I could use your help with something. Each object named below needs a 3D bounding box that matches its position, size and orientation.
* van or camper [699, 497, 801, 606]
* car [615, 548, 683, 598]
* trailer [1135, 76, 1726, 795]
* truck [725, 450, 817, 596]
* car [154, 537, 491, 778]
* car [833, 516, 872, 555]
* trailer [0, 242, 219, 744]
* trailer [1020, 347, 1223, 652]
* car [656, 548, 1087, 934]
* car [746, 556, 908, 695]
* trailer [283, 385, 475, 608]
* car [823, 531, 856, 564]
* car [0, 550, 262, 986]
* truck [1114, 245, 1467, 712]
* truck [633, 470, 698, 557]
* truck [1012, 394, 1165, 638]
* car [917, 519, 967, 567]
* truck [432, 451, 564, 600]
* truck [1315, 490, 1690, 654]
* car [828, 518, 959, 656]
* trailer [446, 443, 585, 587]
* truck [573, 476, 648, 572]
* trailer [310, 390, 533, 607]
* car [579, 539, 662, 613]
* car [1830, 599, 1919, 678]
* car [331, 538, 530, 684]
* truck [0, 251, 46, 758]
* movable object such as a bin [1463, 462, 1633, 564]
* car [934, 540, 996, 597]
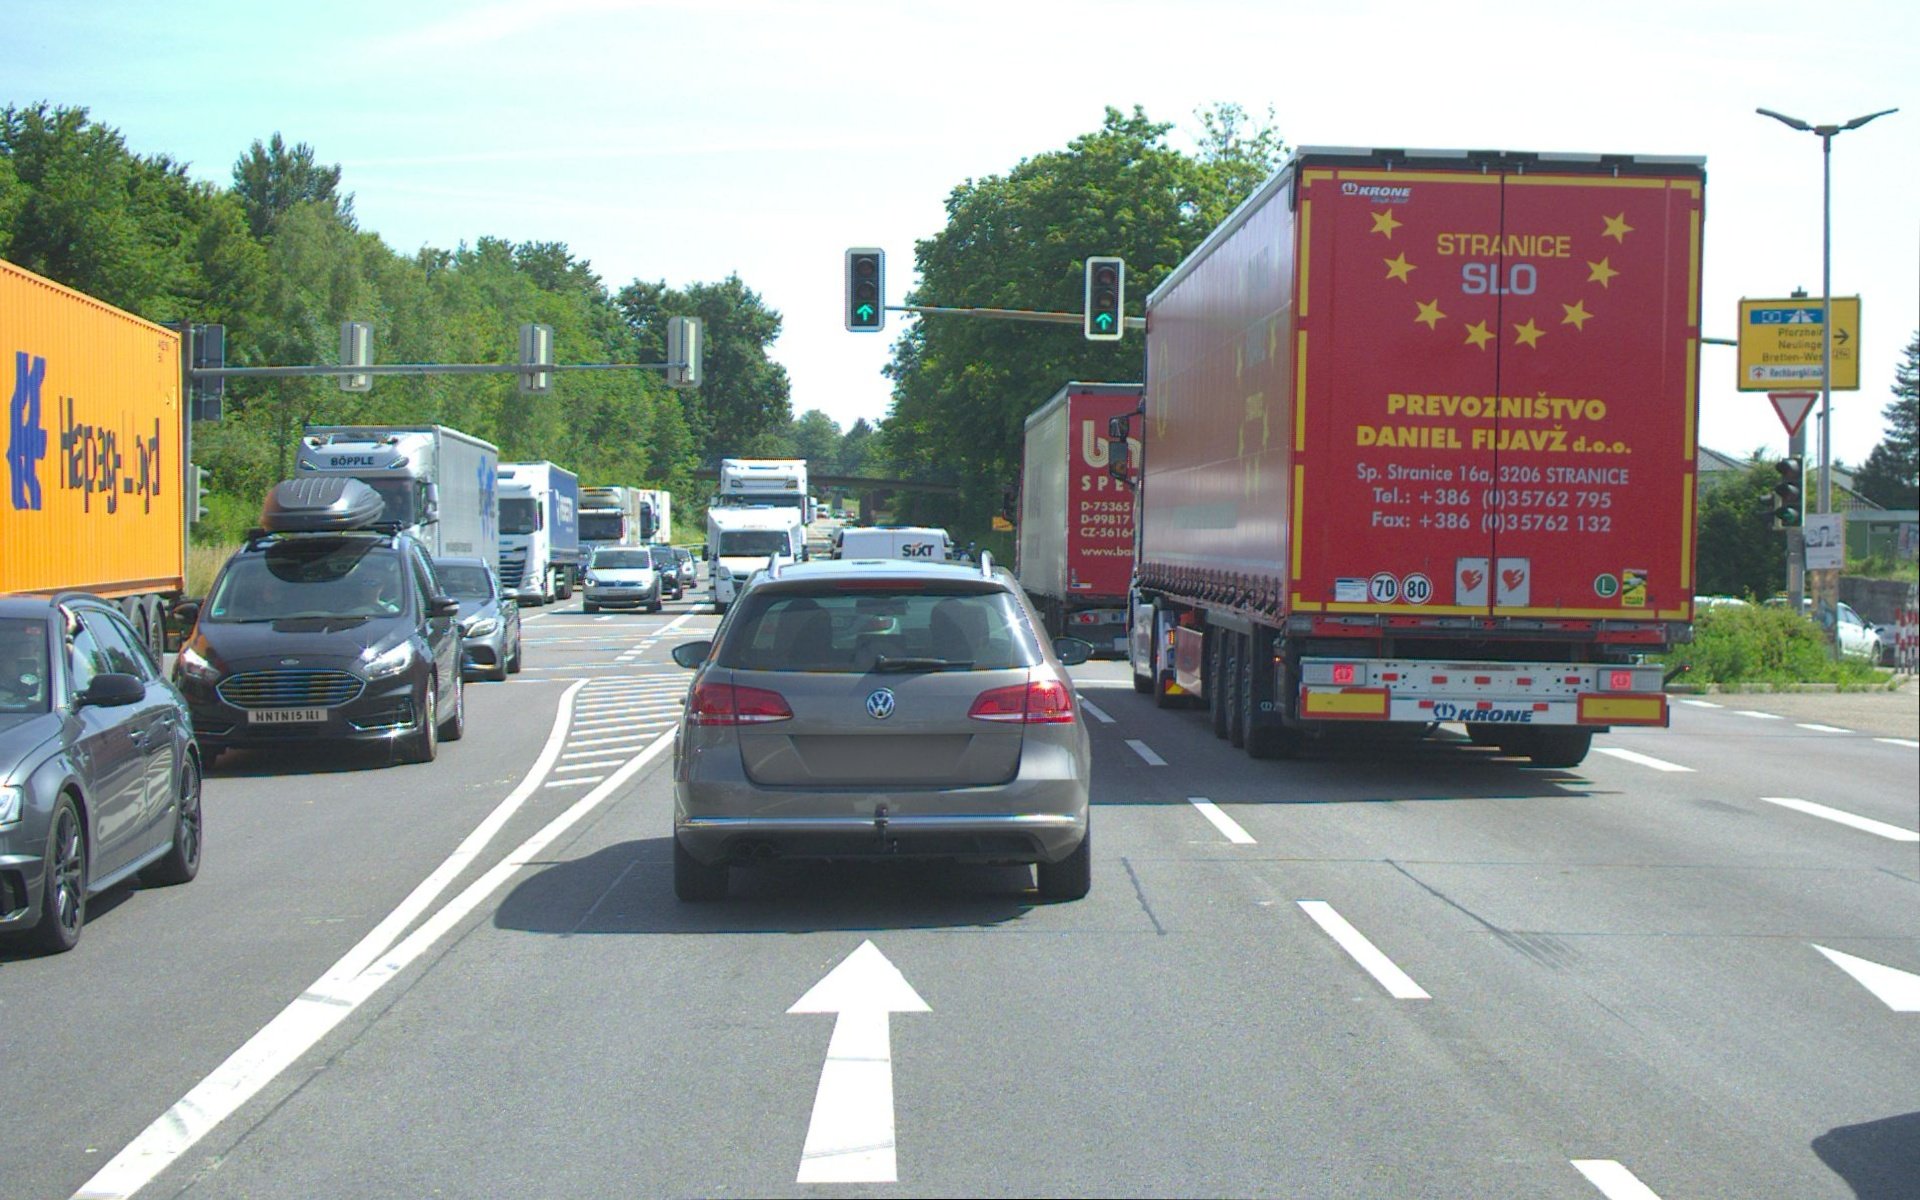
[{"bbox_3d":[-5.175,-1.214,85.638,2.330,2.591,6.979,0,1,-2],"label":"van or camper"},{"bbox_3d":[-9.383,-0.823,103.878,1.993,1.480,4.455,0,1,-5],"label":"car"},{"bbox_3d":[3.236,-1.108,27.805,2.839,4.350,13.168,2,1,0],"label":"trailer"},{"bbox_3d":[-5.490,-2.194,99.339,2.536,4.074,6.267,0,1,-4],"label":"truck"},{"bbox_3d":[-4.757,0.355,26.266,1.908,1.596,4.589,-2,2,-3],"label":"car"},{"bbox_3d":[-5.646,-3.363,180.021,1.993,2.007,4.001,0,1,-3],"label":"car"},{"bbox_3d":[-9.398,-0.931,33.296,2.720,3.984,12.237,0,1,-5],"label":"trailer"},{"bbox_3d":[2.361,-1.493,54.326,2.395,4.229,13.079,0,1,-1],"label":"trailer"},{"bbox_3d":[-0.453,0.522,15.523,1.691,1.508,4.001,0,1,-3],"label":"car"},{"bbox_3d":[-1.571,0.253,39.700,1.770,1.508,4.001,0,1,-3],"label":"car"},{"bbox_3d":[-11.079,-1.943,66.079,2.645,4.091,6.181,0,1,0],"label":"trailer"},{"bbox_3d":[-7.591,-3.304,215.915,1.993,2.007,4.001,0,1,-3],"label":"car"},{"bbox_3d":[-4.359,0.589,14.641,1.861,1.519,4.589,-1,1,-1],"label":"car"},{"bbox_3d":[3.218,-1.178,35.018,2.870,4.266,5.839,2,1,0],"label":"truck"},{"bbox_3d":[-14.202,-4.144,166.340,2.829,4.102,9.684,0,1,-3],"label":"truck"},{"bbox_3d":[2.223,-1.463,60.952,2.406,4.113,5.521,0,1,-1],"label":"truck"},{"bbox_3d":[-0.797,-2.456,148.397,1.993,2.007,4.001,0,1,-3],"label":"car"},{"bbox_3d":[-13.045,-2.094,97.503,3.187,4.066,6.347,0,1,-3],"label":"truck"},{"bbox_3d":[14.822,-0.743,93.833,9.667,3.616,2.768,5,-1,-19],"label":"truck"},{"bbox_3d":[-1.008,-0.216,50.172,1.770,1.930,3.978,0,1,-3],"label":"car"},{"bbox_3d":[-13.360,-2.516,104.542,3.093,4.066,14.129,0,1,-3],"label":"trailer"},{"bbox_3d":[-14.934,-3.240,147.428,2.728,3.985,9.621,0,1,-3],"label":"truck"},{"bbox_3d":[-11.168,-2.045,72.716,2.691,4.133,13.880,0,1,-1],"label":"trailer"},{"bbox_3d":[-8.576,-0.636,87.088,1.843,1.726,4.589,2,1,-3],"label":"car"},{"bbox_3d":[20.050,0.822,73.724,1.778,1.570,3.702,3,1,28],"label":"car"},{"bbox_3d":[-6.396,0.084,41.979,1.921,1.596,4.589,-1,2,-3],"label":"car"},{"bbox_3d":[-8.809,-0.730,25.752,2.720,3.984,6.058,0,1,-5],"label":"truck"},{"bbox_3d":[19.157,-2.801,111.805,2.897,3.197,6.692,0,1,35],"label":"movable object such as a bin"},{"bbox_3d":[0.168,-1.125,121.584,1.993,2.007,4.001,0,1,-3],"label":"car"}]
